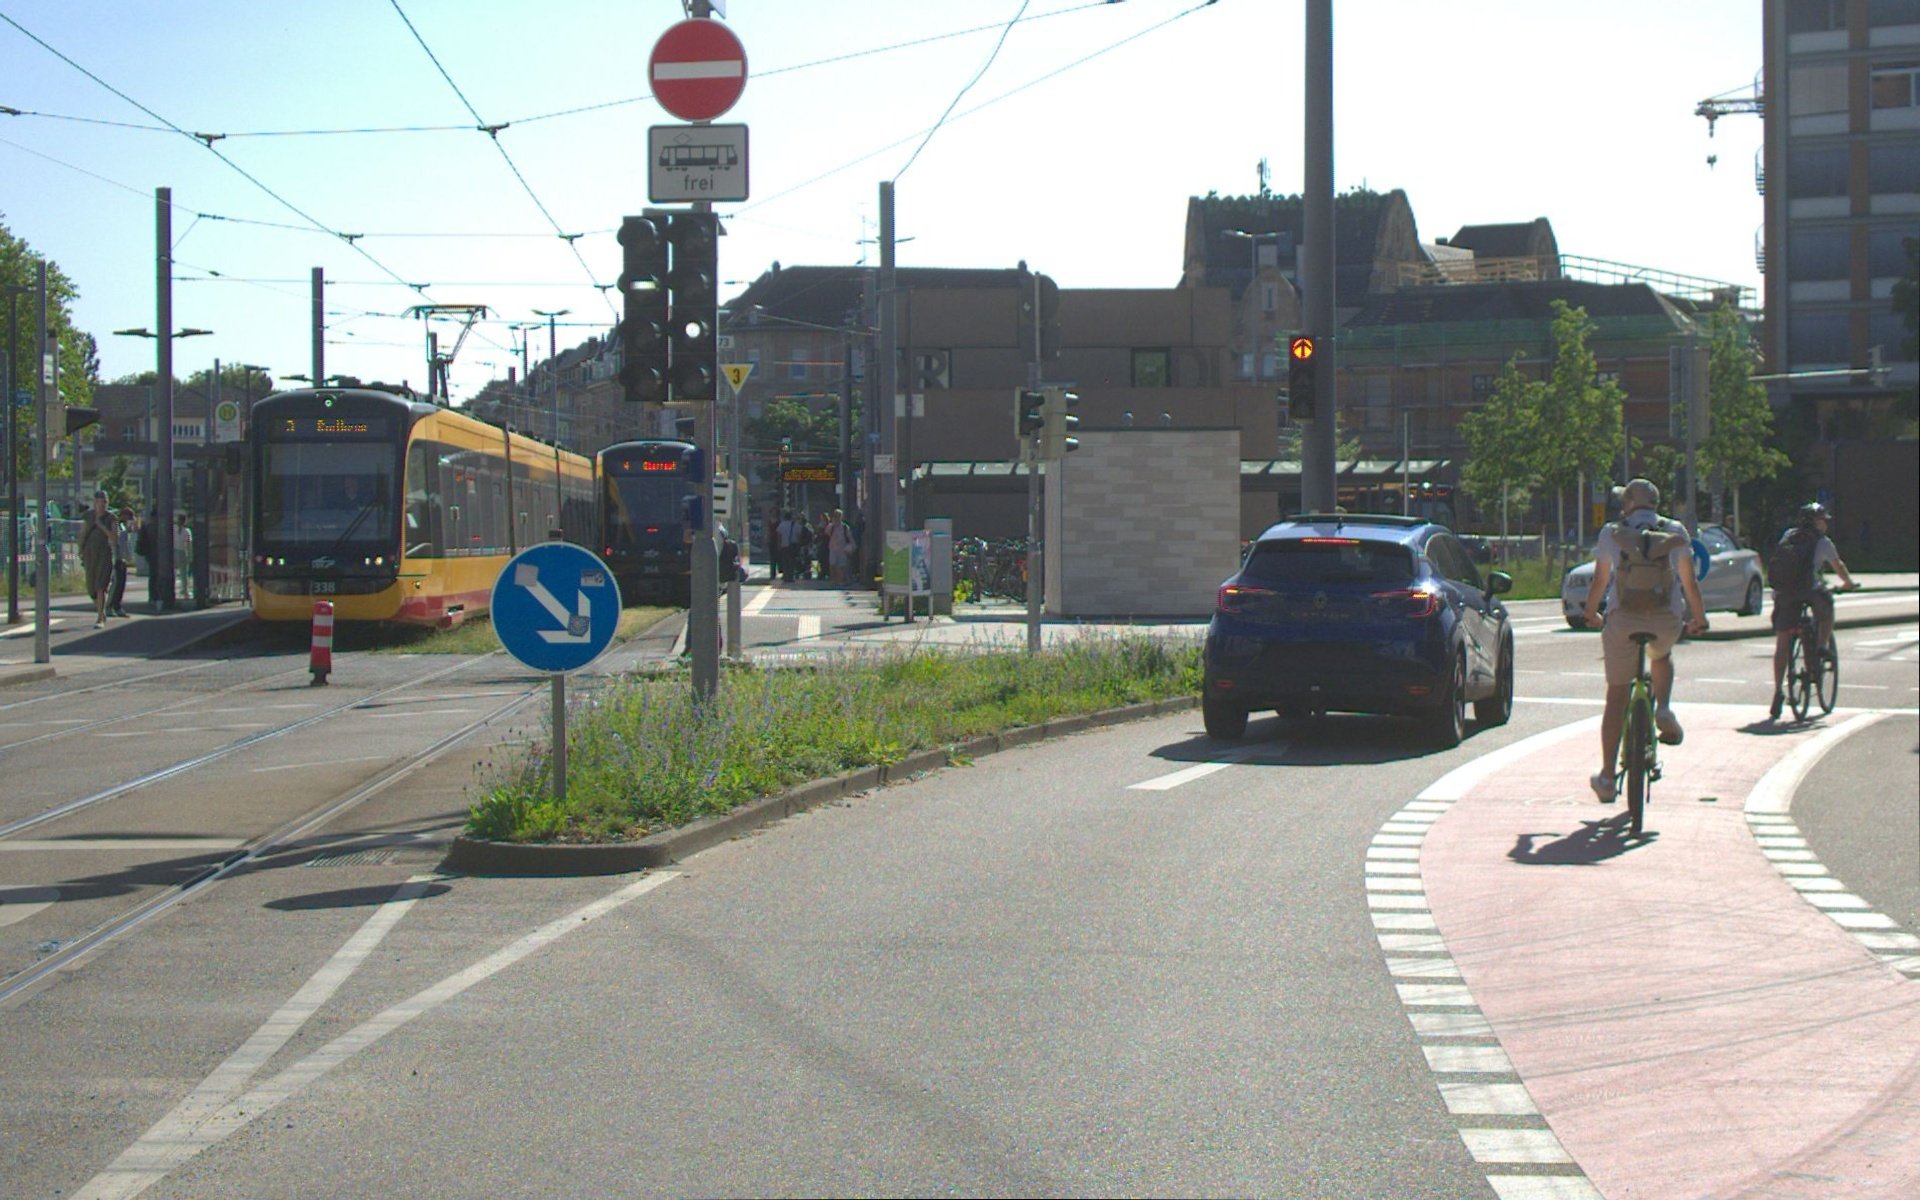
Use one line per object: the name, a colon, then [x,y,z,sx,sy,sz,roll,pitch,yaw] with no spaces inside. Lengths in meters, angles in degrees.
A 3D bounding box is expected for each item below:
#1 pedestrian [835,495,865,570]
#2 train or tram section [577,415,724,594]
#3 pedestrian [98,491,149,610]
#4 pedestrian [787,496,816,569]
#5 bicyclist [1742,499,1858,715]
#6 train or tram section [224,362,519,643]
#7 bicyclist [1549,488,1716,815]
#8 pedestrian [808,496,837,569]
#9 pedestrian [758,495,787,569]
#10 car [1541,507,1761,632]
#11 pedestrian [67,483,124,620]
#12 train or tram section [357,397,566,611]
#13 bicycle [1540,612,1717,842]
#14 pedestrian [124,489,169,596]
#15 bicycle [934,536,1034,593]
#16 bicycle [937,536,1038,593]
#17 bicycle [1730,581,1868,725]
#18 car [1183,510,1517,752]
pedestrian: [-2.897,-1.778,90.599,0.660,1.946,0.629,0,1,-14]
train or tram section: [-6.758,-2.124,76.711,2.742,3.639,13.788,0,2,-3]
pedestrian: [-12.851,-0.761,52.823,0.626,1.821,0.662,0,1,-3]
pedestrian: [-4.244,-1.804,91.894,0.660,1.946,0.629,0,1,-14]
bicyclist: [6.836,0.040,27.951,0.706,1.694,0.986,3,2,23]
train or tram section: [-8.521,-1.454,51.524,2.742,3.639,13.788,0,2,-3]
bicyclist: [3.595,0.252,18.338,0.705,1.669,1.100,2,2,18]
pedestrian: [-3.709,-1.811,92.487,0.660,1.946,0.629,0,1,-14]
pedestrian: [-4.922,-1.780,90.131,0.660,1.946,0.629,0,1,-14]
car: [9.607,-0.439,47.603,1.704,1.638,3.705,2,2,33]
pedestrian: [-11.665,-0.656,46.394,0.626,1.821,0.662,0,1,-3]
train or tram section: [-9.182,-1.804,64.682,2.742,3.639,12.546,0,2,-3]
bicycle: [3.580,0.648,18.328,0.705,1.101,1.716,2,2,17]
pedestrian: [-13.912,-0.980,58.776,0.626,1.821,0.662,0,1,-3]
bicycle: [0.477,-0.704,67.944,1.933,1.099,0.599,0,1,-4]
bicycle: [0.530,-0.692,67.176,1.933,1.099,0.599,0,1,-4]
bicycle: [6.869,0.408,28.073,0.706,1.051,2.311,3,2,22]
car: [2.935,0.166,25.225,1.790,1.599,3.710,1,2,16]
